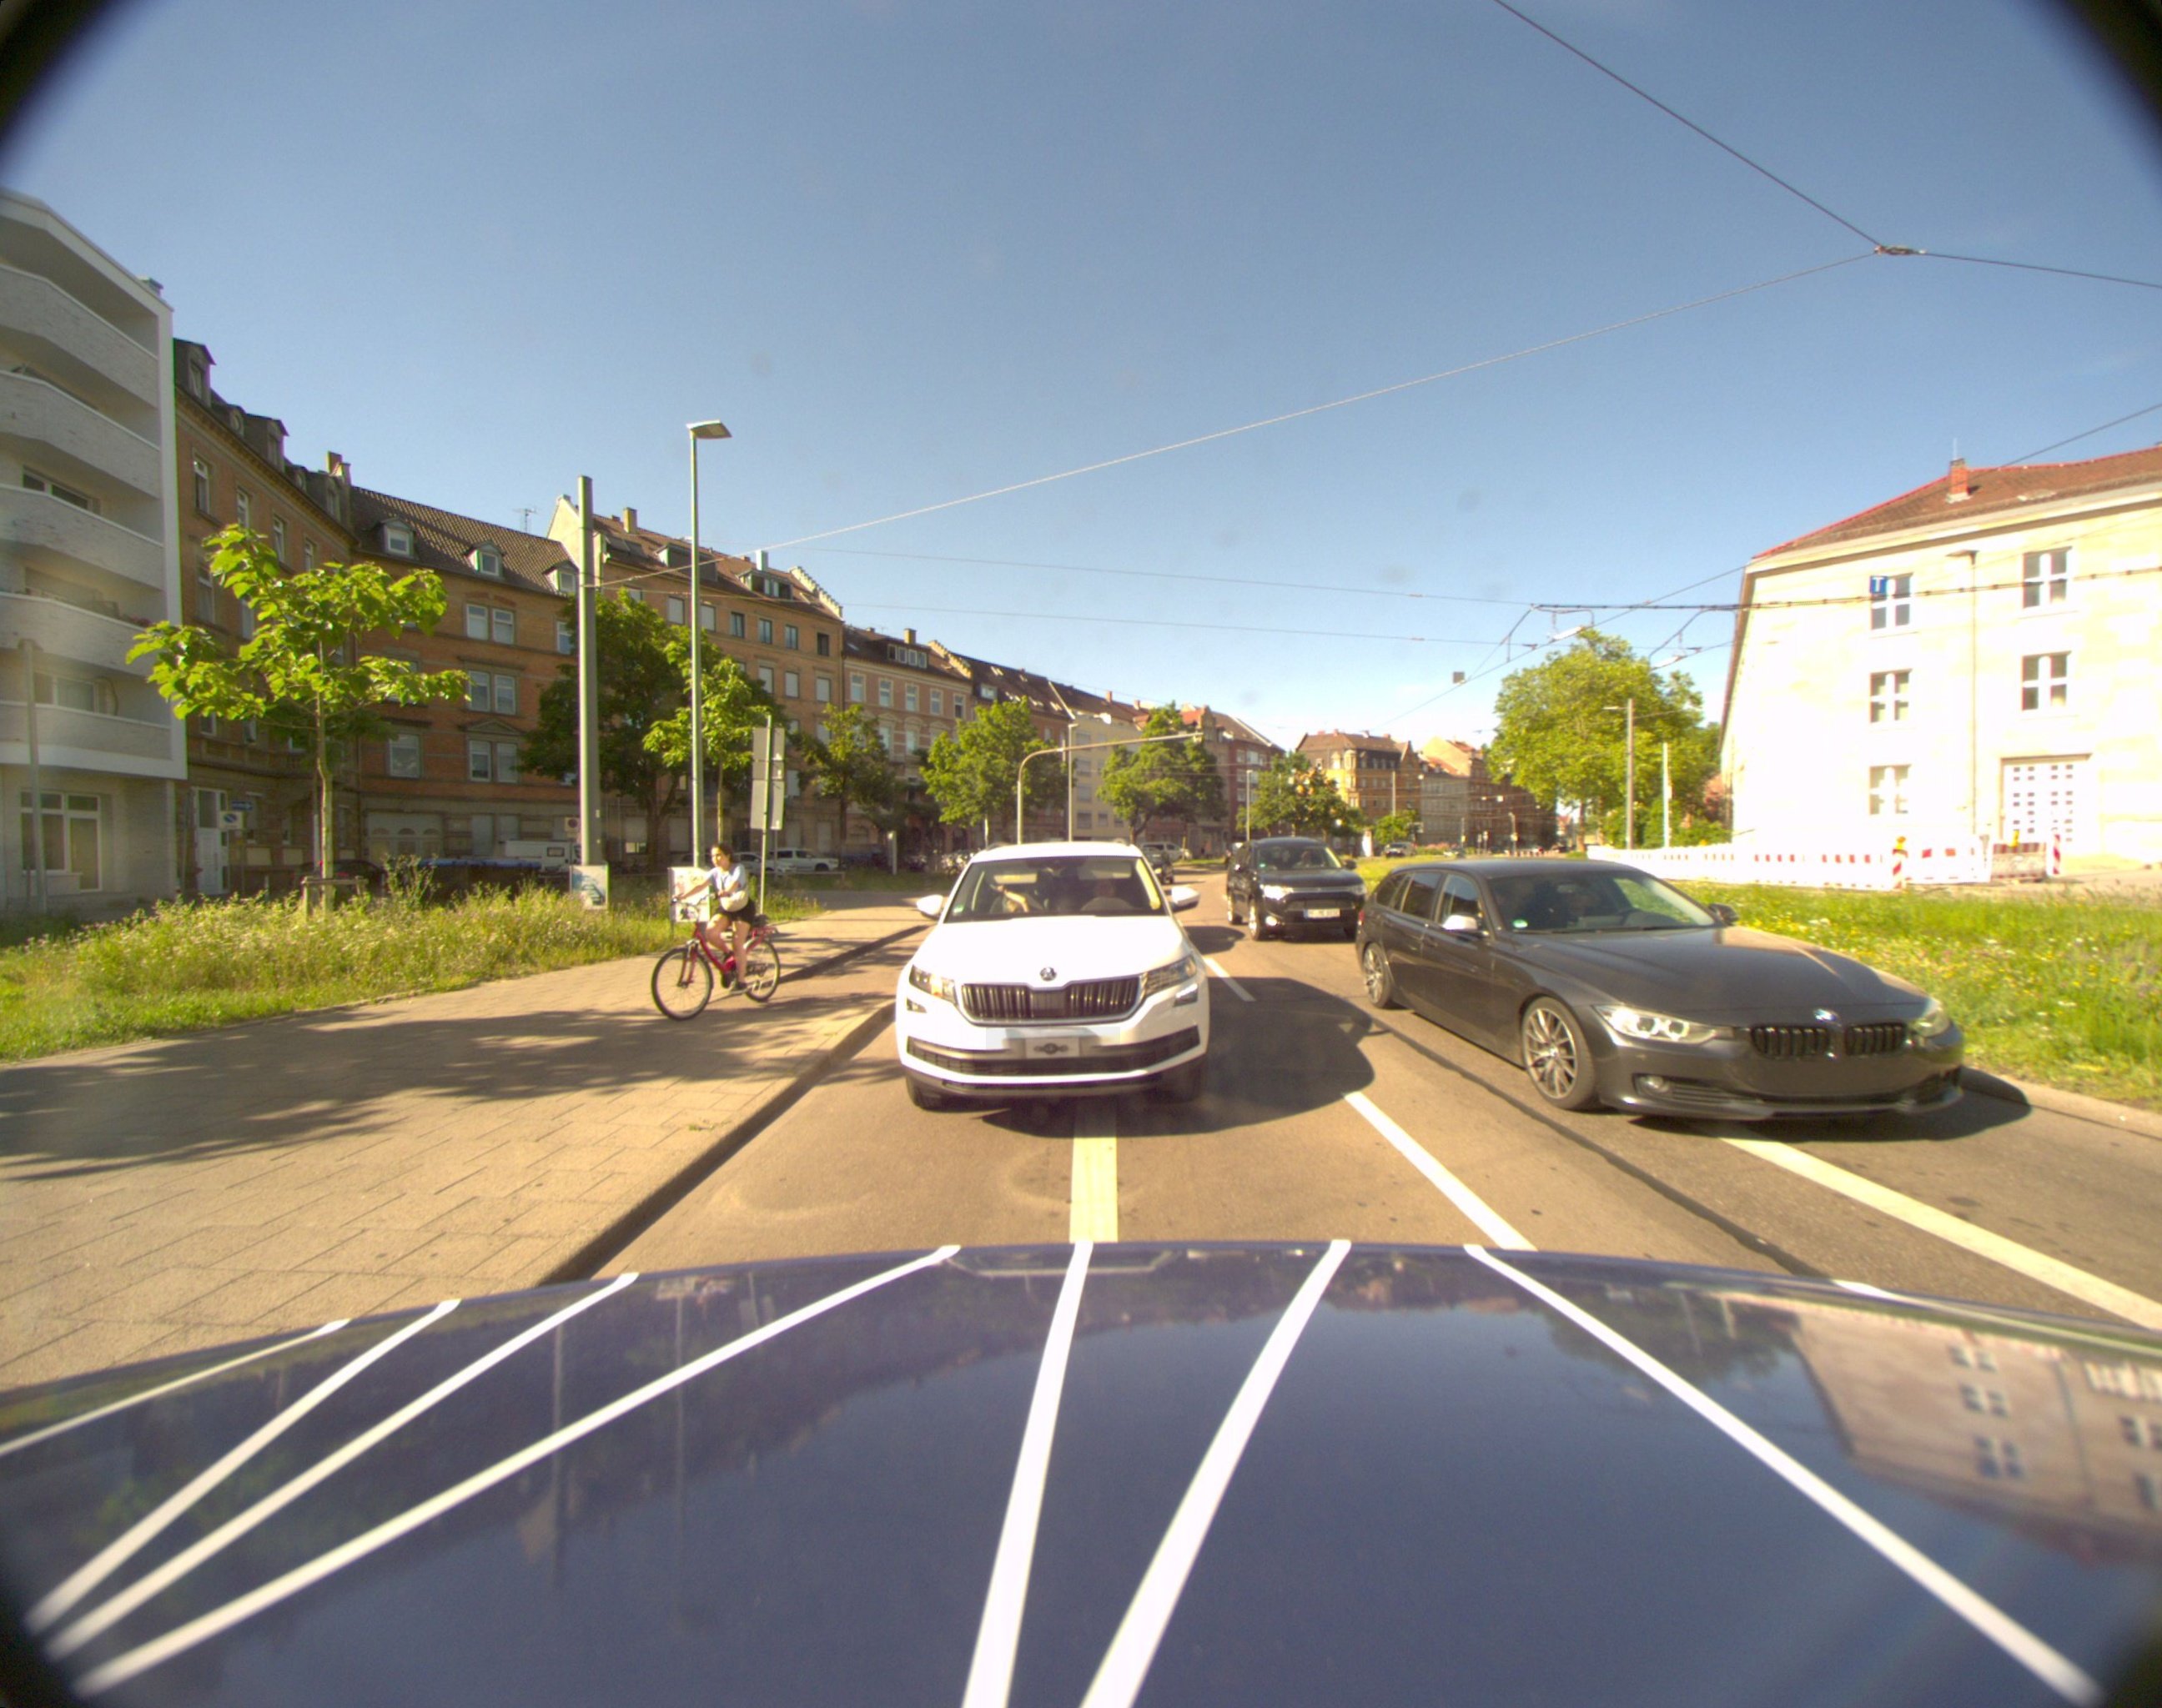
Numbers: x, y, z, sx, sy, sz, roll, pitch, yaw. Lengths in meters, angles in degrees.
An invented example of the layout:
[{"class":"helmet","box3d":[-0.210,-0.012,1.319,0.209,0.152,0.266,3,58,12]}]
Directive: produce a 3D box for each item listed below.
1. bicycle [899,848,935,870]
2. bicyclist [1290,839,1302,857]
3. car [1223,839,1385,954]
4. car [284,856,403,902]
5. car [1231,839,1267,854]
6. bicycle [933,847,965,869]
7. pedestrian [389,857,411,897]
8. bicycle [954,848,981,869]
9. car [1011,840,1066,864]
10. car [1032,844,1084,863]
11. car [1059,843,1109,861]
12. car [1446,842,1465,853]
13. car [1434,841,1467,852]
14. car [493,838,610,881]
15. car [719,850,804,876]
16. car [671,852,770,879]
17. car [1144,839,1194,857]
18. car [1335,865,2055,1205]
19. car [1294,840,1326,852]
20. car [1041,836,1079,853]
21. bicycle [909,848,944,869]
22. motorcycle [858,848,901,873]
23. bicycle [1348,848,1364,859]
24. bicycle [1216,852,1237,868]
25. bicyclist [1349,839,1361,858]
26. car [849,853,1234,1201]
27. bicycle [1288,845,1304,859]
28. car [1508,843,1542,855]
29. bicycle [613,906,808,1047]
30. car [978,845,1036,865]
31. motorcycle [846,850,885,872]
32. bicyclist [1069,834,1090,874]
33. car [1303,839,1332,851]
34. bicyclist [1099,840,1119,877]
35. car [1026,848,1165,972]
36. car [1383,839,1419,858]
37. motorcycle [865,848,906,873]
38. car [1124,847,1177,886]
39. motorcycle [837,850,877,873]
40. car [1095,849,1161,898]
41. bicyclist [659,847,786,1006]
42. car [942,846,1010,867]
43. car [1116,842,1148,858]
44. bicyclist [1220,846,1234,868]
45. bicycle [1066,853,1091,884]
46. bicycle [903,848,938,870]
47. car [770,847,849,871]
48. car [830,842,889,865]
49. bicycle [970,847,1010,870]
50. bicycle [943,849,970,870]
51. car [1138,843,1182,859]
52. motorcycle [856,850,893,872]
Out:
[{"class":"bicycle","box3d":[-9.745,0.306,45.074,2.198,1.260,0.664,-2,1,30]},{"class":"bicyclist","box3d":[20.228,-0.597,71.469,0.734,1.685,0.973,0,1,37]},{"class":"car","box3d":[3.696,0.623,13.402,1.841,1.636,4.399,-2,0,5]},{"class":"car","box3d":[-26.170,0.830,27.151,1.835,1.419,4.378,-1,1,-27]},{"class":"car","box3d":[18.691,-0.825,84.663,3.823,1.581,1.600,0,1,6]},{"class":"bicycle","box3d":[-7.731,0.239,44.522,0.664,1.260,2.198,-3,1,-45]},{"class":"pedestrian","box3d":[-24.994,0.847,27.909,0.509,1.448,0.481,-3,2,-38]},{"class":"bicycle","box3d":[-7.125,0.307,47.757,0.664,1.260,2.199,-3,1,-36]},{"class":"car","box3d":[-3.110,-0.139,56.108,3.825,1.698,1.682,0,1,3]},{"class":"car","box3d":[-1.778,-0.056,58.716,3.823,1.398,1.600,0,1,6]},{"class":"car","box3d":[0.258,-0.162,61.168,3.823,1.398,1.600,0,1,6]},{"class":"car","box3d":[51.597,-0.940,104.666,1.836,1.464,4.722,1,1,31]},{"class":"car","box3d":[55.051,-1.123,113.175,1.770,1.647,4.059,-1,1,-34]},{"class":"car","box3d":[-27.120,0.219,39.013,2.047,2.026,4.510,1,2,41]},{"class":"car","box3d":[-16.409,0.440,39.109,3.696,1.244,1.683,0,1,13]},{"class":"car","box3d":[-17.502,0.534,36.910,4.156,1.244,1.683,0,1,13]},{"class":"car","box3d":[8.195,-0.592,70.613,4.578,1.658,1.600,0,1,7]},{"class":"car","box3d":[3.477,0.846,5.598,1.741,1.359,4.426,-2,0,1]},{"class":"car","box3d":[37.955,-1.312,125.991,4.578,1.864,2.004,-2,1,33]},{"class":"car","box3d":[-1.943,-0.944,71.669,1.547,1.578,3.607,1,2,41]},{"class":"bicycle","box3d":[-9.512,0.278,46.715,2.198,1.260,0.664,-2,1,32]},{"class":"motorcycle","box3d":[-11.181,0.374,42.211,2.200,1.322,0.663,-2,1,13]},{"class":"bicycle","box3d":[30.342,-0.064,83.844,2.287,1.138,0.762,-1,1,-45]},{"class":"bicycle","box3d":[11.274,0.456,58.880,0.667,1.190,2.159,0,1,37]},{"class":"bicyclist","box3d":[30.282,-0.592,83.908,0.847,2.002,1.199,0,1,45]},{"class":"car","box3d":[-0.229,0.852,5.953,1.842,1.636,4.397,-2,0,-1]},{"class":"bicycle","box3d":[20.227,-0.194,71.525,0.735,1.353,2.079,0,1,37]},{"class":"car","box3d":[63.456,-0.730,108.676,4.058,1.647,1.770,1,2,34]},{"class":"bicycle","box3d":[-3.467,1.100,7.331,0.668,1.066,1.822,-2,0,13]},{"class":"car","box3d":[-5.229,0.085,53.968,3.822,1.398,1.683,0,1,9]},{"class":"motorcycle","box3d":[-12.942,0.415,45.628,2.314,1.276,0.664,-2,1,24]},{"class":"bicyclist","box3d":[-0.056,-0.002,33.297,0.715,1.715,1.095,1,1,12]},{"class":"car","box3d":[39.889,-1.526,128.178,4.336,1.871,1.844,1,2,35]},{"class":"bicyclist","box3d":[1.415,0.219,38.930,0.808,1.855,0.750,0,2,20]},{"class":"car","box3d":[0.234,0.759,12.612,1.842,1.636,4.397,-2,0,1]},{"class":"car","box3d":[36.258,-0.622,86.047,4.723,2.074,1.977,-1,2,-44]},{"class":"motorcycle","box3d":[-11.151,0.357,43.297,2.200,1.315,0.664,-2,1,18]},{"class":"car","box3d":[3.309,0.532,35.618,1.837,1.637,4.152,0,1,14]},{"class":"motorcycle","box3d":[-13.291,0.438,45.023,2.314,1.270,0.664,-2,1,24]},{"class":"car","box3d":[1.747,0.618,27.080,1.838,1.543,4.151,0,1,10]},{"class":"bicyclist","box3d":[-3.455,0.656,7.389,0.668,1.428,0.941,0,0,14]},{"class":"car","box3d":[-7.045,0.174,51.299,4.322,1.398,1.682,0,1,3]},{"class":"car","box3d":[5.465,-0.425,80.732,1.547,1.578,3.607,1,2,41]},{"class":"bicyclist","box3d":[11.311,0.223,58.953,0.667,1.619,0.973,0,1,38]},{"class":"bicycle","box3d":[-0.081,0.632,33.327,0.715,1.319,1.750,1,0,12]},{"class":"bicycle","box3d":[-9.709,0.294,46.012,2.198,1.260,0.664,-2,1,32]},{"class":"car","box3d":[-14.683,0.256,41.198,3.700,1.244,1.540,0,1,2]},{"class":"car","box3d":[-15.613,-0.056,53.674,1.547,1.578,3.709,1,2,41]},{"class":"bicycle","box3d":[-5.478,0.266,45.743,2.207,1.260,0.662,-3,1,-25]},{"class":"bicycle","box3d":[-7.688,0.339,46.763,0.664,1.260,2.199,-3,1,-36]},{"class":"car","box3d":[7.123,-0.252,68.183,3.823,1.372,1.600,0,1,9]},{"class":"motorcycle","box3d":[-12.605,0.401,46.408,2.199,1.260,0.664,-2,1,24]}]
